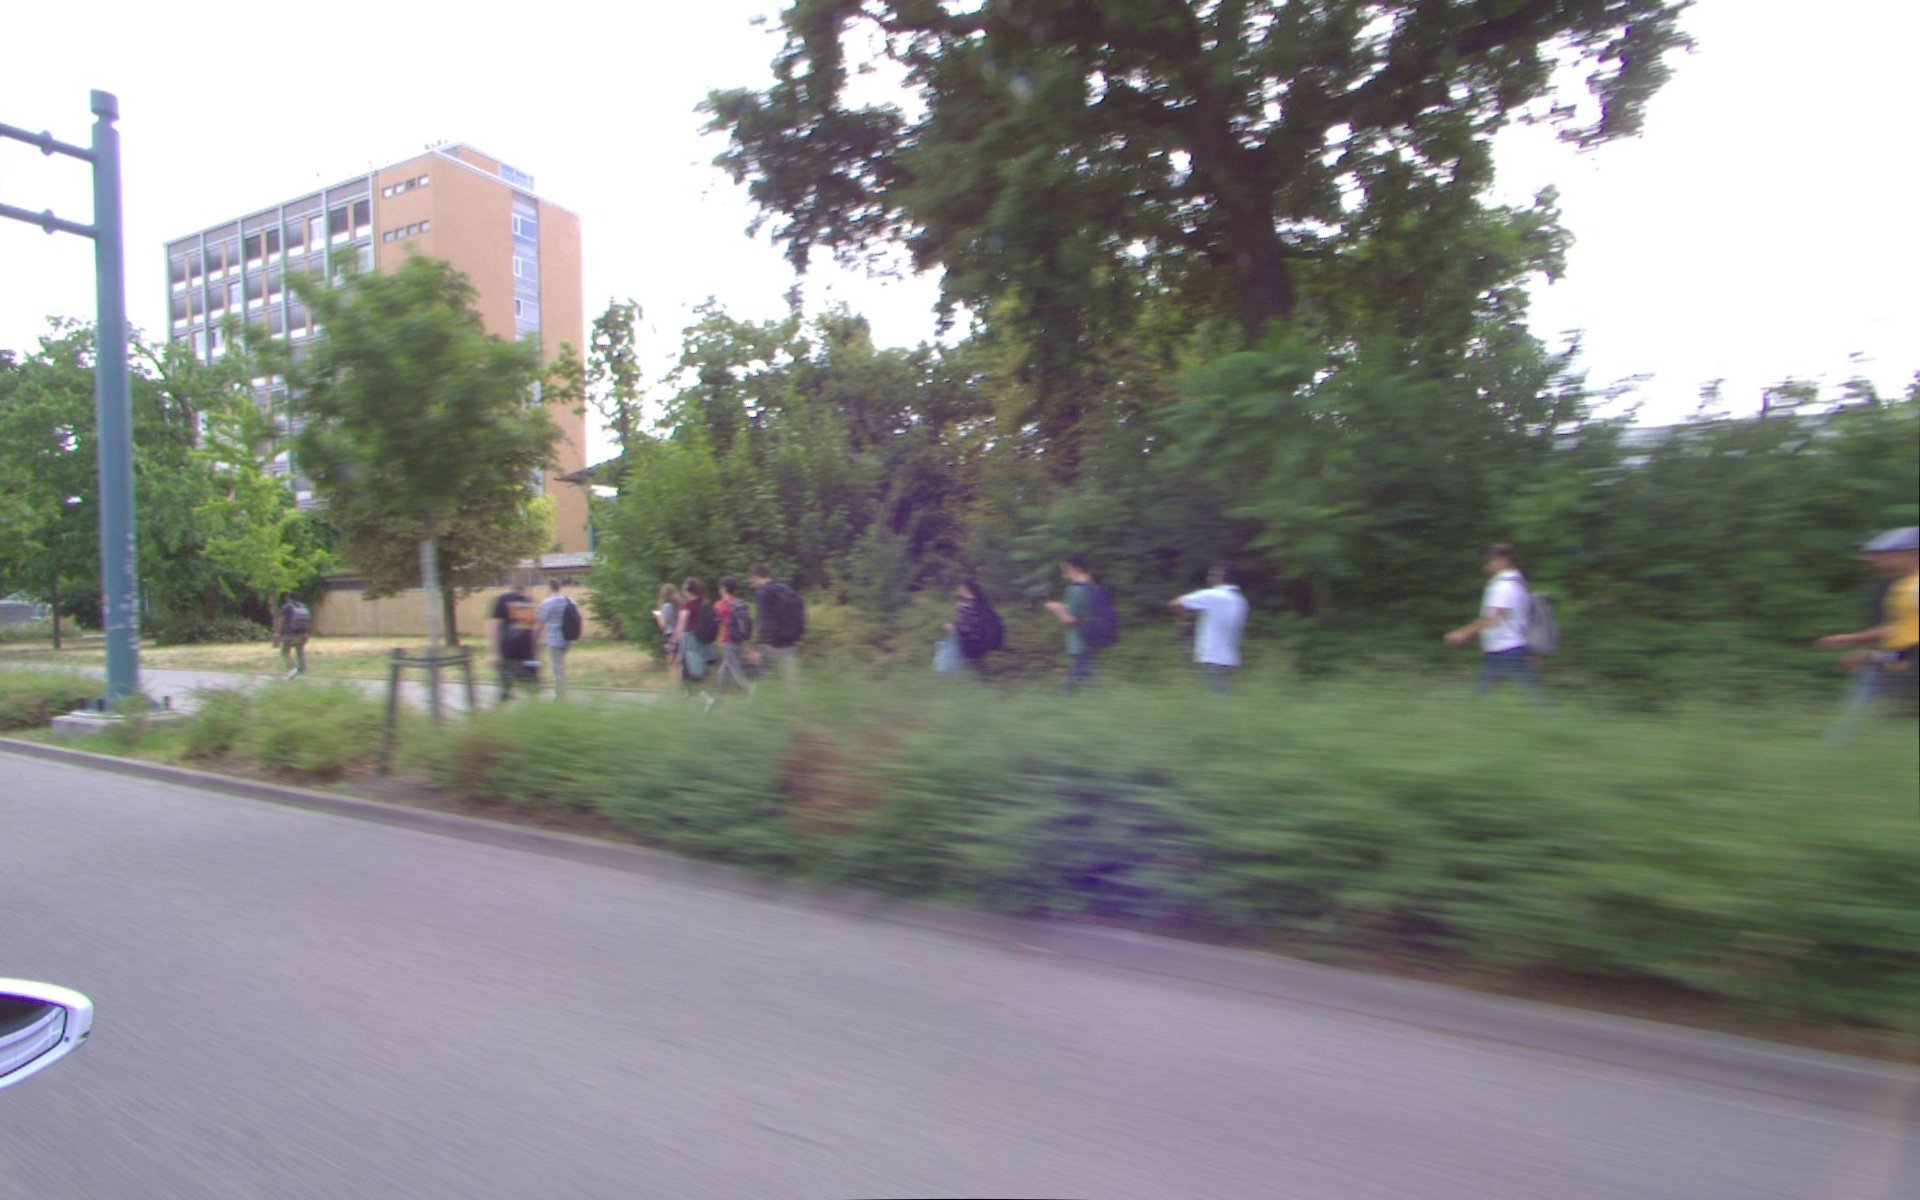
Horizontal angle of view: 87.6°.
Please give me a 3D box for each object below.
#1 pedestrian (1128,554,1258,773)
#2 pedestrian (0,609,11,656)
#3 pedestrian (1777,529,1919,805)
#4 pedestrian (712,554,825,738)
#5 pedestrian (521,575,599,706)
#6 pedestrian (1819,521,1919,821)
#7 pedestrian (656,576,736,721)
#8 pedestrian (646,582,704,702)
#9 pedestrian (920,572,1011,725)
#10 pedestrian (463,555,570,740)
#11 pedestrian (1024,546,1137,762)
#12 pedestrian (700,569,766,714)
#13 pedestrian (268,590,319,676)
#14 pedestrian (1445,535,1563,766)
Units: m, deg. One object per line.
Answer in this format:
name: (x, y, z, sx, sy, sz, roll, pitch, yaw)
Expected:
pedestrian: (1.863, 0.471, 7.960, 0.800, 1.624, 0.773, 0, 1, 33)
pedestrian: (-30.510, 1.021, 31.670, 0.652, 1.490, 0.557, -1, 1, -41)
pedestrian: (5.936, 0.408, 6.431, 0.957, 1.689, 0.655, 0, 1, 30)
pedestrian: (-2.014, 0.462, 10.556, 0.940, 1.846, 0.691, 0, 1, 33)
pedestrian: (-5.520, 0.540, 13.820, 0.803, 1.759, 0.617, 0, 1, 33)
pedestrian: (5.718, 0.405, 5.936, 0.829, 1.712, 0.655, 0, 1, 30)
pedestrian: (-3.172, 0.559, 12.035, 0.743, 1.677, 0.554, 0, 1, 33)
pedestrian: (-4.017, 0.574, 14.126, 0.644, 1.655, 0.467, 0, 1, 33)
pedestrian: (0.061, 0.509, 10.986, 0.774, 1.605, 0.634, 0, 1, 33)
pedestrian: (-4.717, 0.471, 10.643, 0.923, 1.855, 0.882, -1, 1, -30)
pedestrian: (1.092, 0.462, 9.033, 0.801, 1.846, 0.654, 0, 1, 33)
pedestrian: (-2.882, 0.516, 12.722, 0.654, 1.787, 0.483, 0, 1, 33)
pedestrian: (-13.445, 0.651, 20.214, 0.737, 1.705, 0.586, 0, 1, 33)
pedestrian: (4.451, 0.391, 8.182, 0.801, 1.768, 0.719, 0, 1, 33)
